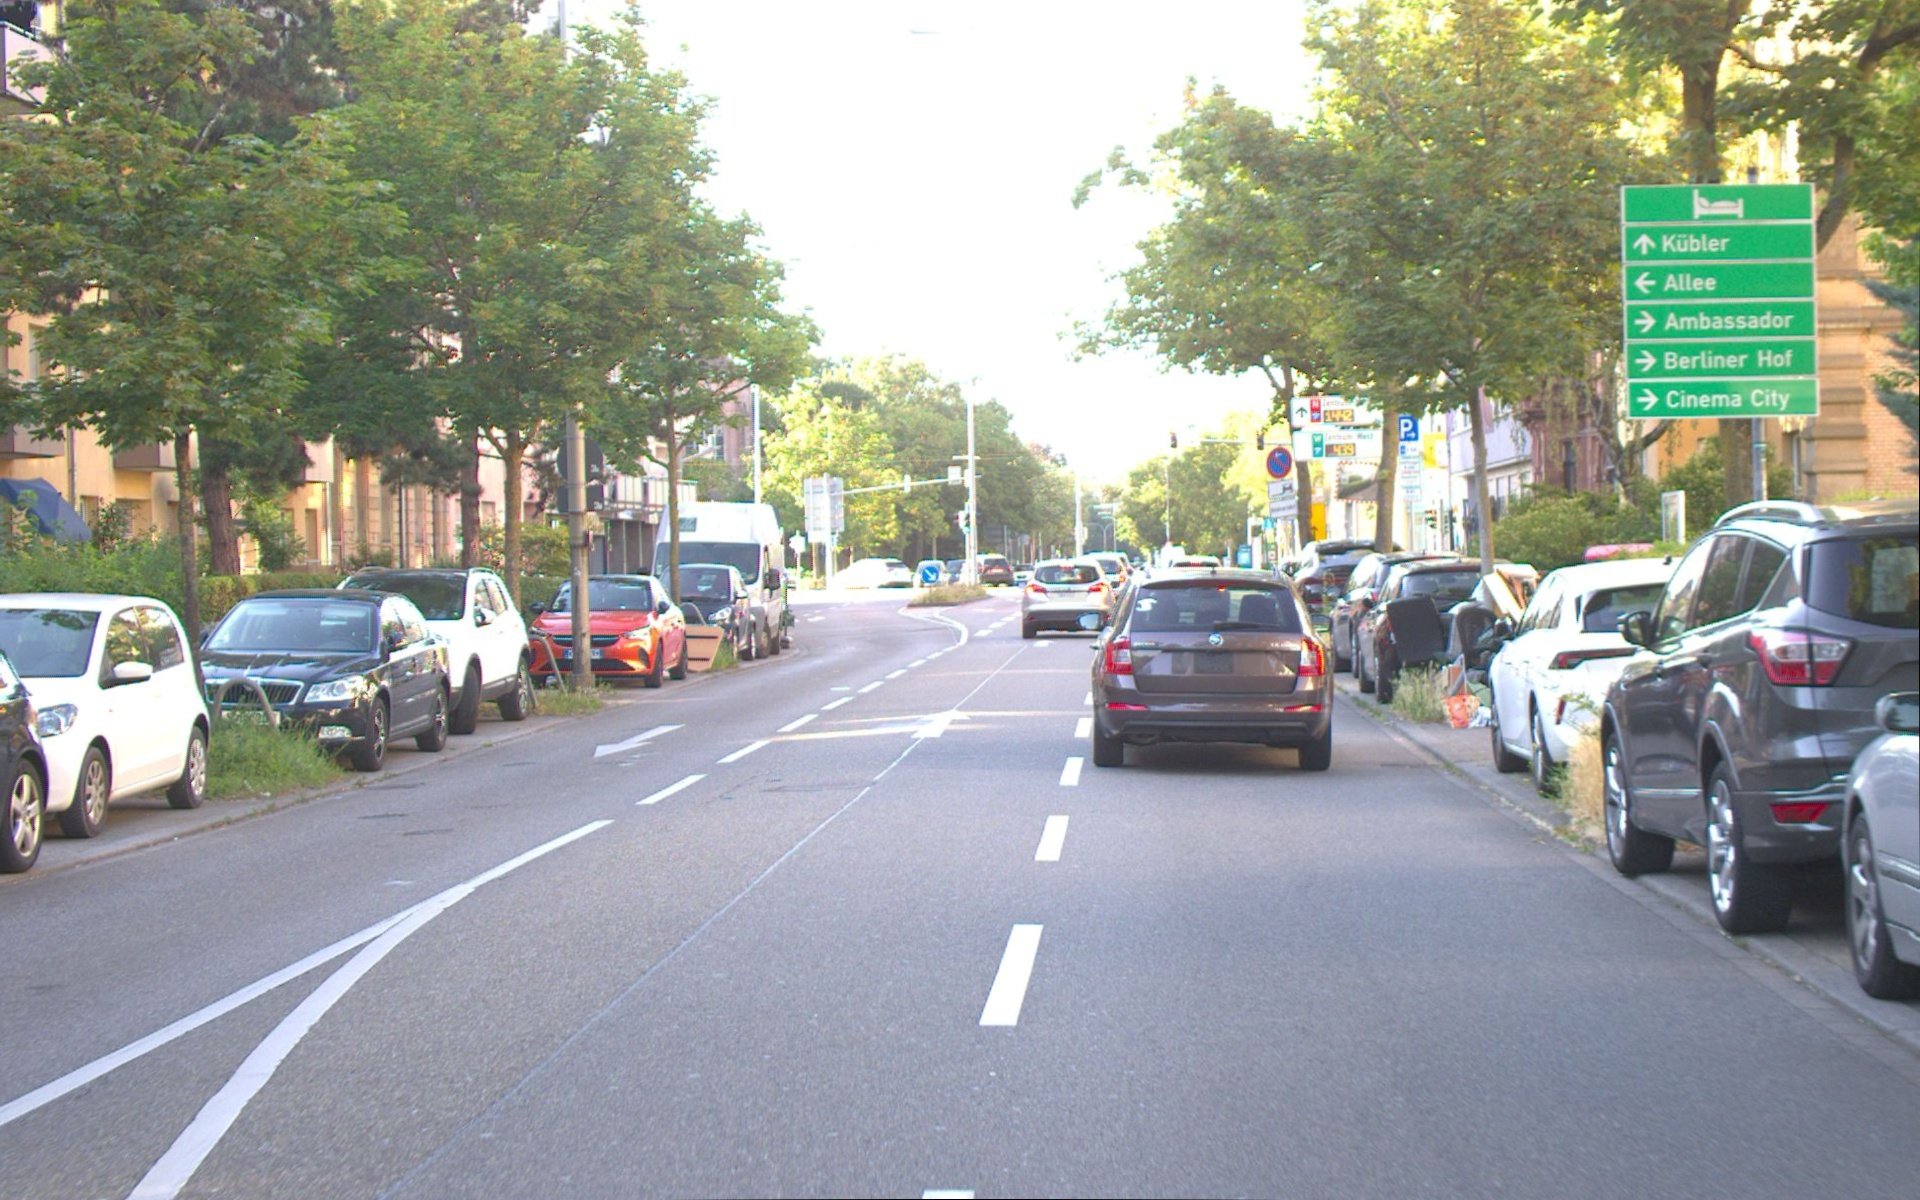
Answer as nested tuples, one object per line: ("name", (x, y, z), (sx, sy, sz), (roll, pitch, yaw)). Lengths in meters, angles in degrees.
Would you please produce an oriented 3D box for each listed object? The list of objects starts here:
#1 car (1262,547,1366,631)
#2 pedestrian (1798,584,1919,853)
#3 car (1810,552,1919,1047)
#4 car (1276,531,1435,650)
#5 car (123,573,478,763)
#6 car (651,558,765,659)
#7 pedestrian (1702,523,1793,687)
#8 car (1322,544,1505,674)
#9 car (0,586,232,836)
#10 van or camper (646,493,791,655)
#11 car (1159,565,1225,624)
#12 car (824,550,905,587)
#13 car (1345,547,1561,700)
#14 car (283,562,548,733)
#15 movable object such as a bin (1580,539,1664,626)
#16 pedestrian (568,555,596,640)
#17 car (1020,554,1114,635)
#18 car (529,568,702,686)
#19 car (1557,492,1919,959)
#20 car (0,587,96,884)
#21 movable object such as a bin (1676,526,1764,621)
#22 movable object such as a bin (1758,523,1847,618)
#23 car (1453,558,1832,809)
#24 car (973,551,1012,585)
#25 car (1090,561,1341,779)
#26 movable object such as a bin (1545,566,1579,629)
("car", (6.919, -0.245, 67.636), (1.856, 1.507, 4.834), (-3, 1, 5))
("pedestrian", (6.126, 0.802, 23.352), (0.668, 1.777, 0.764), (2, -1, 3))
("car", (3.755, 0.606, 9.812), (1.784, 1.499, 4.830), (-1, 1, 4))
("car", (5.851, -0.171, 51.363), (1.948, 1.649, 4.796), (-1, 1, 2))
("car", (-5.556, 0.522, 29.557), (1.994, 1.443, 4.458), (-2, 1, 2))
("car", (-4.005, 0.119, 54.876), (1.404, 1.543, 2.761), (1, 1, 4))
("pedestrian", (7.885, 0.044, 34.440), (0.746, 1.610, 0.580), (-1, 1, 1))
("car", (5.590, 0.073, 42.825), (1.716, 1.467, 4.432), (-2, 1, 1))
("car", (-5.972, 0.660, 22.302), (1.591, 1.487, 3.641), (-1, 0, 2))
("van or camper", (-4.142, -0.462, 59.832), (2.035, 2.654, 6.016), (1, 1, 0))
("car", (6.000, -0.157, 89.303), (1.650, 1.479, 4.239), (0, 1, 3))
("car", (-4.543, -1.485, 163.168), (1.994, 1.664, 4.000), (-2, 1, -33))
("car", (5.095, 0.196, 36.038), (1.770, 1.444, 4.484), (-2, 1, 3))
("car", (-5.392, 0.428, 34.550), (1.777, 1.583, 4.185), (0, 1, 3))
("movable object such as a bin", (11.222, -0.298, 58.286), (1.253, 1.436, 0.994), (-1, 1, 18))
("pedestrian", (-7.480, -0.055, 68.083), (0.480, 1.646, 0.725), (-2, 1, -3))
("car", (2.092, -0.133, 66.356), (1.707, 1.504, 4.309), (0, 1, 3))
("car", (-4.529, 0.328, 45.709), (1.717, 1.447, 3.923), (0, 1, 3))
("car", (3.936, 0.395, 14.895), (1.916, 1.676, 4.707), (-3, 1, 2))
("car", (-5.891, 0.714, 17.156), (1.837, 1.512, 4.315), (0, 1, 4))
("movable object such as a bin", (12.855, -0.453, 58.172), (1.154, 1.550, 0.995), (-2, 1, -6))
("movable object such as a bin", (14.187, -0.502, 57.920), (1.154, 1.550, 0.995), (-2, 1, -6))
("car", (4.317, 0.468, 22.361), (1.762, 1.397, 4.333), (-2, 1, 3))
("car", (1.443, -1.434, 154.698), (1.620, 1.489, 3.348), (-1, 1, -2))
("car", (1.874, 0.461, 25.741), (1.708, 1.452, 4.158), (1, 1, 3))
("movable object such as a bin", (10.195, -0.043, 58.253), (0.494, 1.055, 0.547), (-1, 1, 15))
